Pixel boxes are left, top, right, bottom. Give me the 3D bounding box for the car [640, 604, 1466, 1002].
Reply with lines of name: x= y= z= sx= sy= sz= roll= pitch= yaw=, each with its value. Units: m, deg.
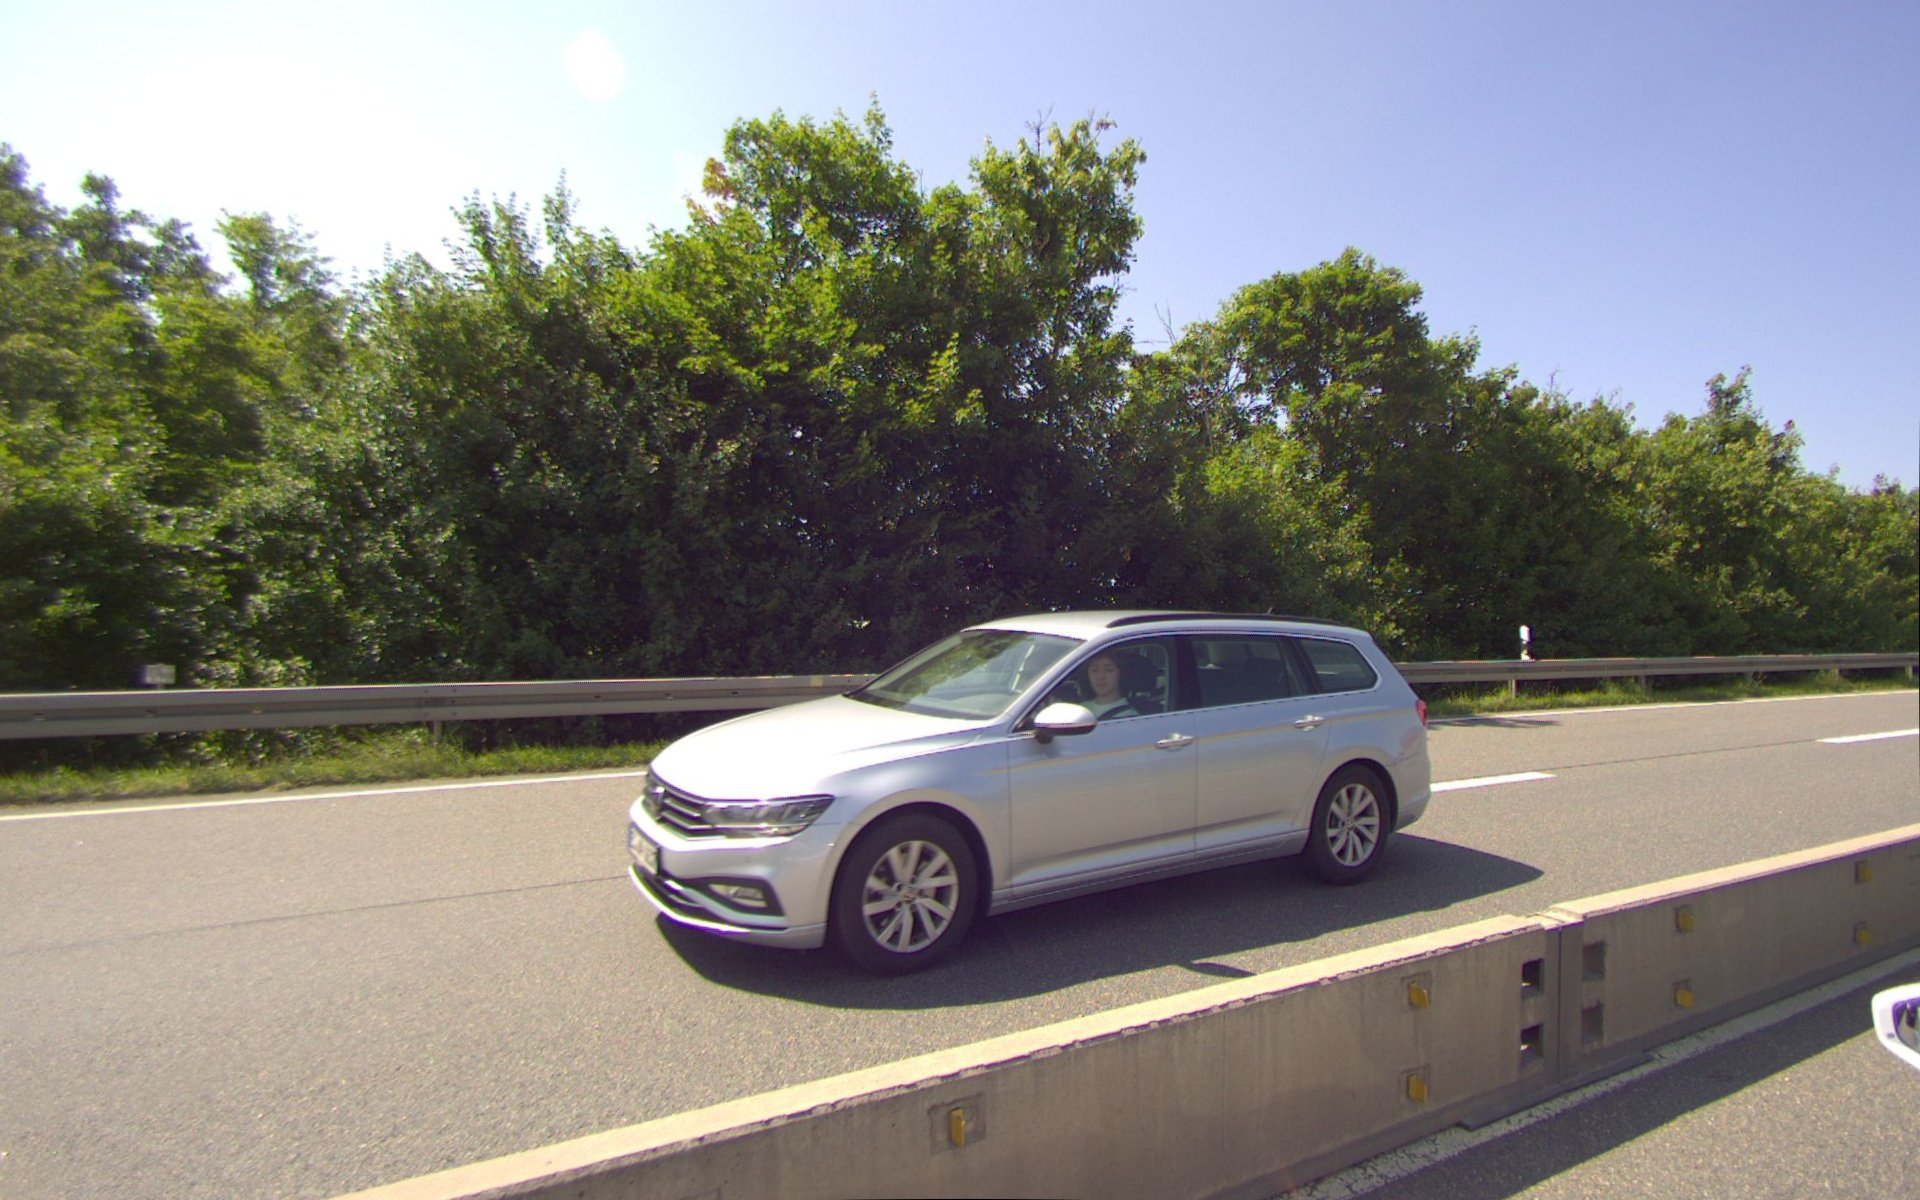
car: x=0.637 y=0.776 z=5.605 sx=4.303 sy=1.440 sz=1.939 roll=1 pitch=-1 yaw=-31
